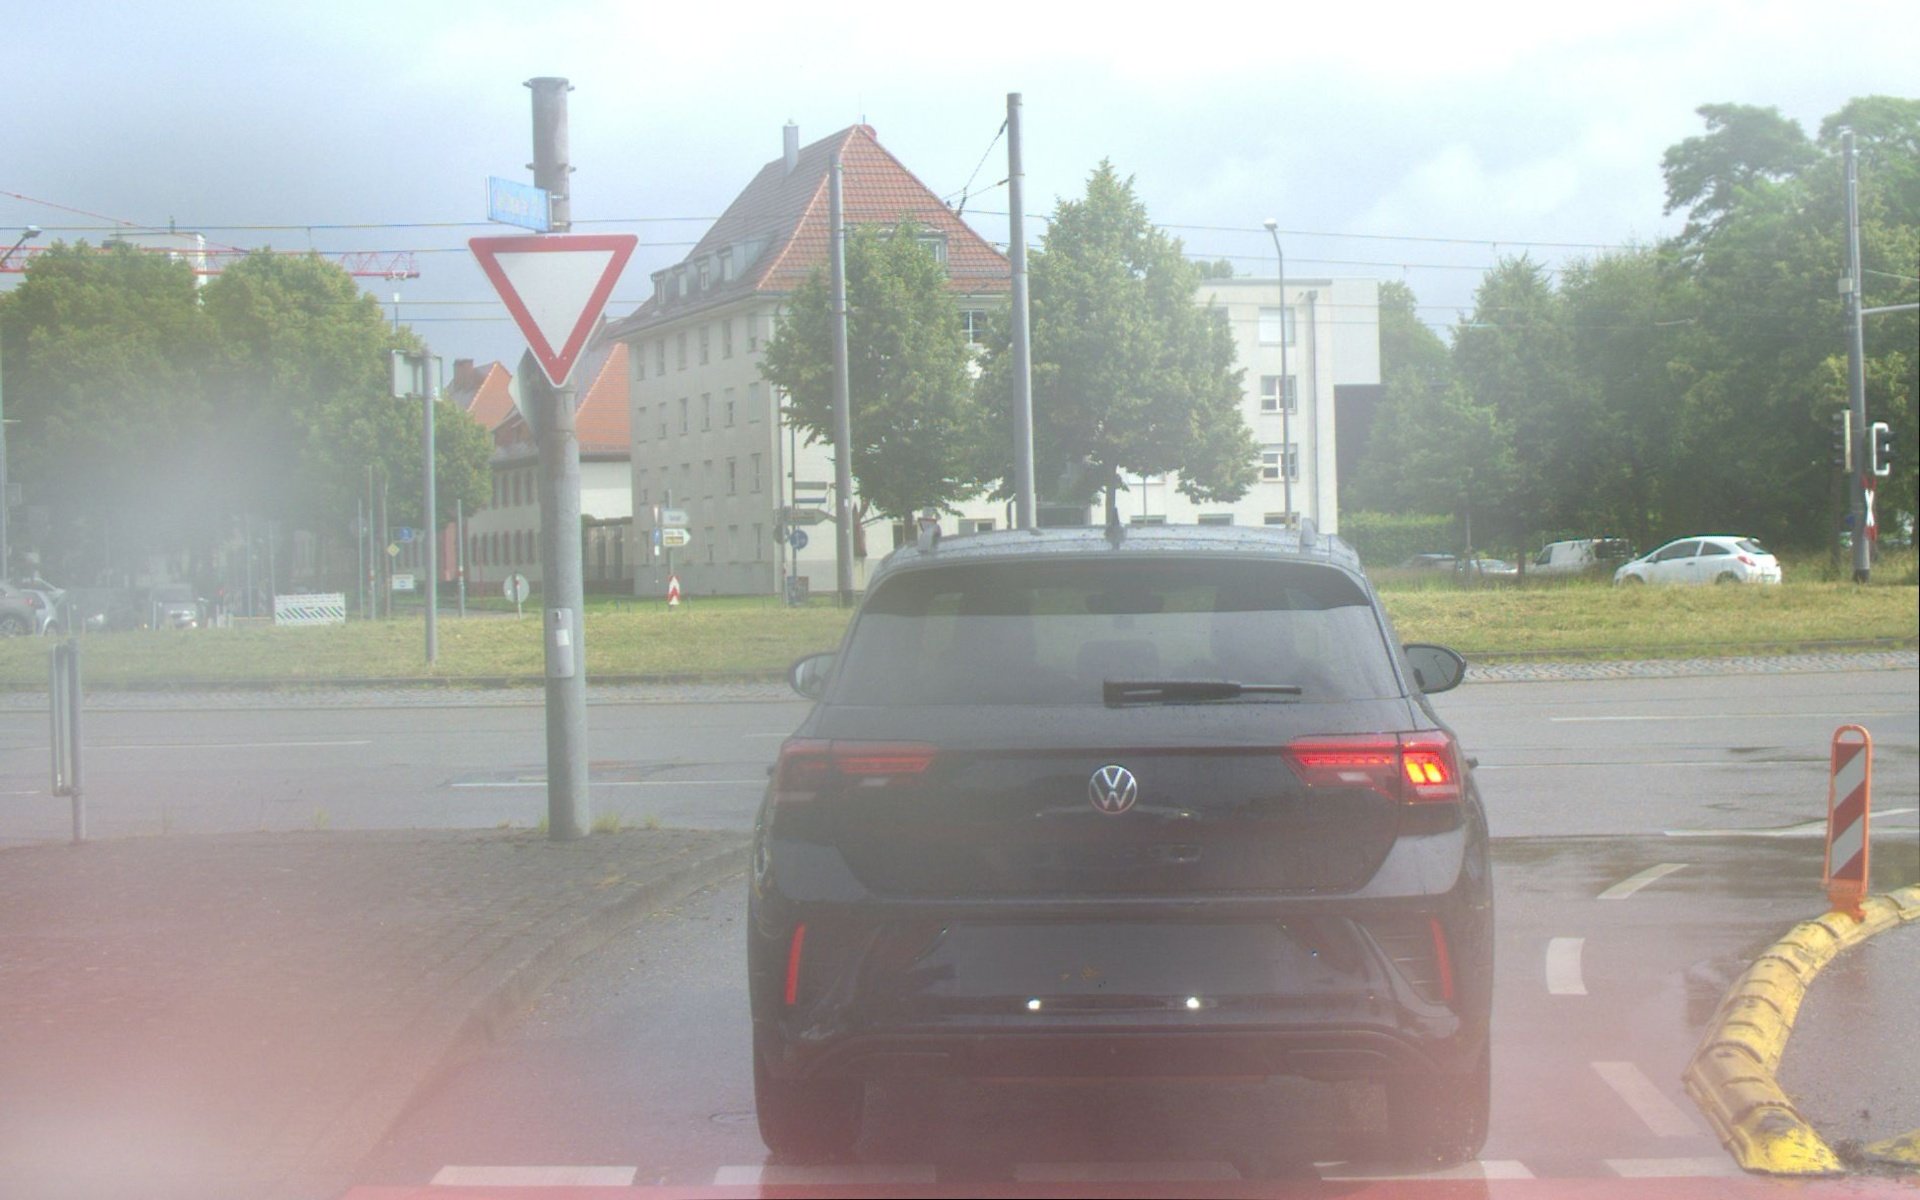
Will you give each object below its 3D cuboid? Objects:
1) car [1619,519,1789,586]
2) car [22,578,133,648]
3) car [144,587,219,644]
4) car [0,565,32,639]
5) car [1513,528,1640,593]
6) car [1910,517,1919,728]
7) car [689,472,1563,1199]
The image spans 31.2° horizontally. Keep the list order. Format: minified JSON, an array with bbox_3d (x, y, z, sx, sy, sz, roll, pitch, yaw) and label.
[{"bbox_3d":[17.266,-1.103,79.843,3.496,1.449,1.547,-1,2,39],"label":"car"},{"bbox_3d":[-21.611,0.294,84.332,1.791,1.579,4.001,-1,1,-2],"label":"car"},{"bbox_3d":[-22.642,0.438,100.037,1.545,1.555,3.501,-1,1,-3],"label":"car"},{"bbox_3d":[-21.561,0.076,72.214,1.573,1.555,3.668,0,2,45],"label":"car"},{"bbox_3d":[20.507,-1.343,114.587,2.106,2.050,5.163,-2,2,-15],"label":"car"},{"bbox_3d":[8.595,0.085,24.704,1.719,1.457,3.990,1,3,44],"label":"car"},{"bbox_3d":[0.441,0.472,9.532,1.897,1.612,4.000,1,3,2],"label":"car"}]
